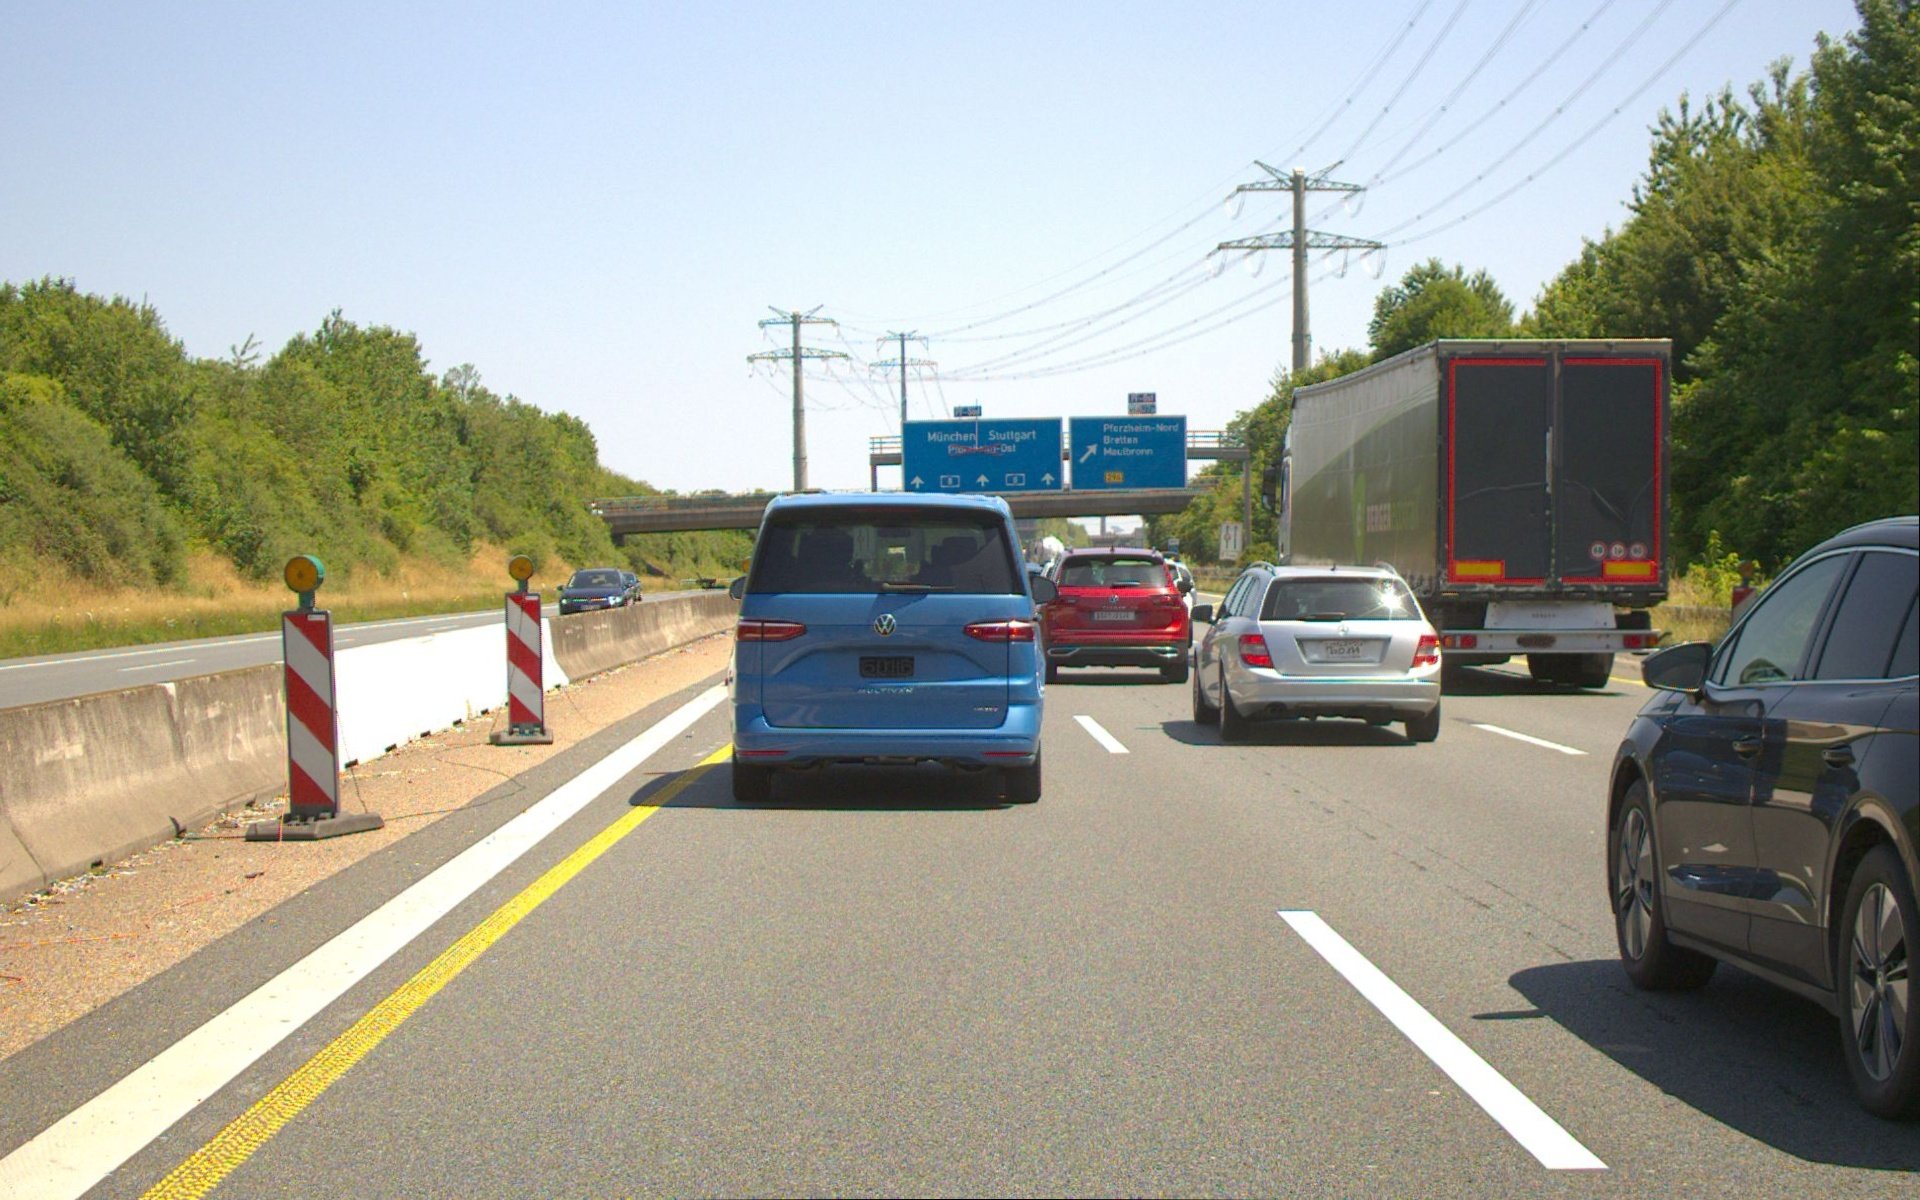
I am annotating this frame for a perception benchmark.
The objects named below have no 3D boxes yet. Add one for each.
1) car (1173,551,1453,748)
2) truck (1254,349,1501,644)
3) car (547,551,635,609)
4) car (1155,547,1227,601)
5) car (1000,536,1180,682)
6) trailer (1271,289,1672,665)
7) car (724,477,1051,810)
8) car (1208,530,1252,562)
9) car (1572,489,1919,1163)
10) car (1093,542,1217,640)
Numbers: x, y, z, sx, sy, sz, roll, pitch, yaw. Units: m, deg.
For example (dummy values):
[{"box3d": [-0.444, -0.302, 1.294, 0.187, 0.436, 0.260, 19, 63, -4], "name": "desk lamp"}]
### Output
[{"box3d": [2.900, 0.364, 29.082, 1.770, 1.512, 4.360, 1, 1, -2], "name": "car"}, {"box3d": [6.037, -1.463, 50.543, 2.733, 4.033, 5.794, 1, 0, -1], "name": "truck"}, {"box3d": [-9.904, -0.558, 92.526, 1.862, 1.485, 4.493, -1, 1, 0], "name": "car"}, {"box3d": [6.536, -0.741, 97.403, 1.701, 1.443, 3.788, 1, 1, -1], "name": "car"}, {"box3d": [1.537, 0.079, 42.106, 1.874, 1.665, 4.360, 1, 1, -2], "name": "car"}, {"box3d": [6.149, -1.400, 43.890, 2.783, 4.033, 13.113, 1, 1, -1], "name": "trailer"}, {"box3d": [-0.486, 0.233, 22.195, 1.874, 1.905, 4.360, 1, 1, -2], "name": "car"}, {"box3d": [14.746, -2.946, 188.041, 1.874, 1.665, 4.360, 1, 1, -2], "name": "car"}, {"box3d": [3.152, 0.549, 10.249, 1.700, 1.649, 4.430, 1, 1, -2], "name": "car"}, {"box3d": [3.319, -0.166, 59.172, 1.797, 1.588, 4.227, 1, 1, -1], "name": "car"}]
